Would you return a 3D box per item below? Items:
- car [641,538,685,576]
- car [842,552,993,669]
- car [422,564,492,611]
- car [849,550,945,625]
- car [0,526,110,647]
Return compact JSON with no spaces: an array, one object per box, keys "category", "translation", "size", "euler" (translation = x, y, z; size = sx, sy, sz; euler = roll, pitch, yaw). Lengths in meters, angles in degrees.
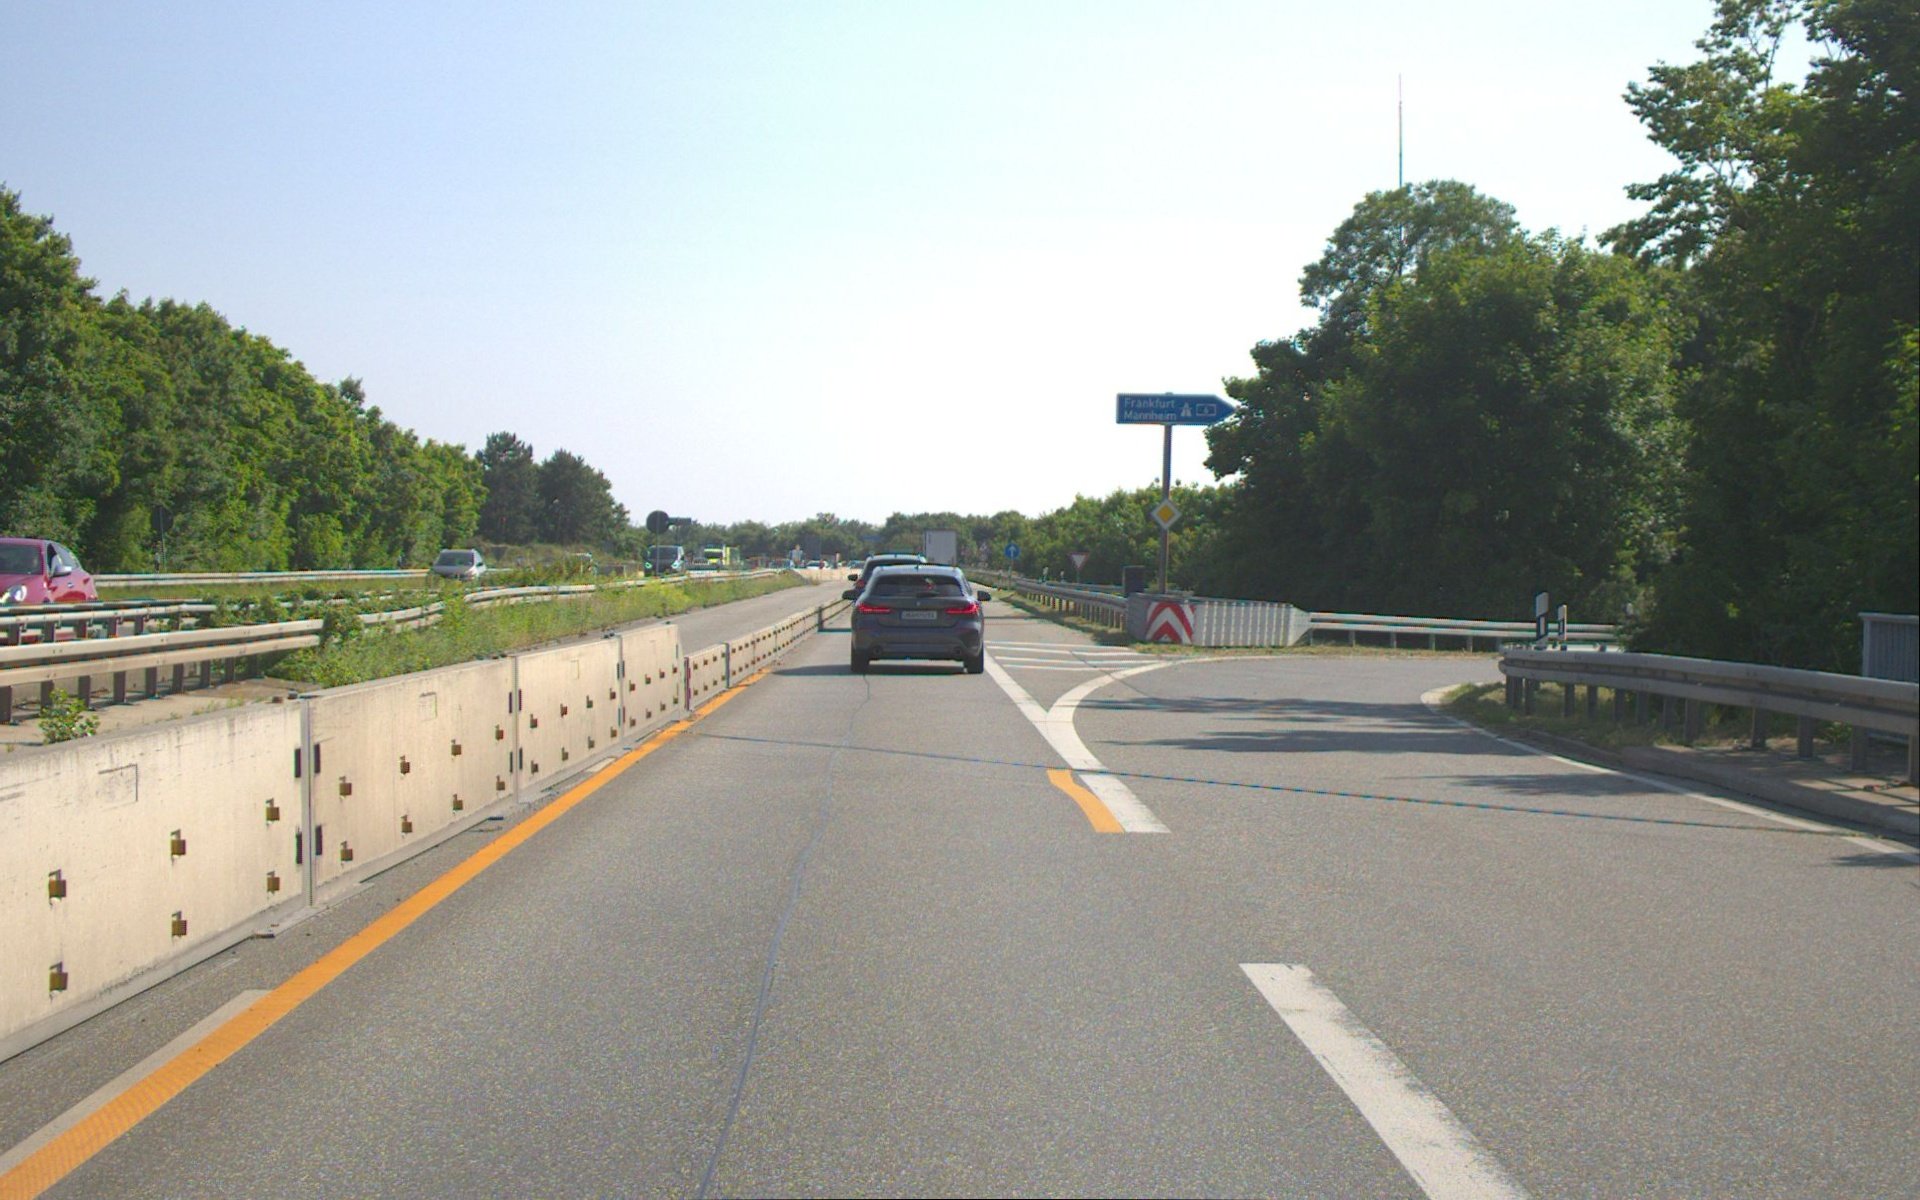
[{"category":"car","translation":[-16.019,-2.330,185.785],"size":[1.993,2.027,5.169],"euler":[0,1,-1]},{"category":"car","translation":[-0.625,0.106,47.024],"size":[1.920,1.488,4.000],"euler":[1,1,-2]},{"category":"car","translation":[-17.144,-0.450,117.300],"size":[1.763,1.577,4.422],"euler":[0,1,-1]},{"category":"car","translation":[-1.323,-0.290,73.763],"size":[1.993,1.561,4.000],"euler":[0,1,0]},{"category":"car","translation":[-11.704,-0.191,41.950],"size":[1.714,1.392,4.221],"euler":[1,1,-2]}]
